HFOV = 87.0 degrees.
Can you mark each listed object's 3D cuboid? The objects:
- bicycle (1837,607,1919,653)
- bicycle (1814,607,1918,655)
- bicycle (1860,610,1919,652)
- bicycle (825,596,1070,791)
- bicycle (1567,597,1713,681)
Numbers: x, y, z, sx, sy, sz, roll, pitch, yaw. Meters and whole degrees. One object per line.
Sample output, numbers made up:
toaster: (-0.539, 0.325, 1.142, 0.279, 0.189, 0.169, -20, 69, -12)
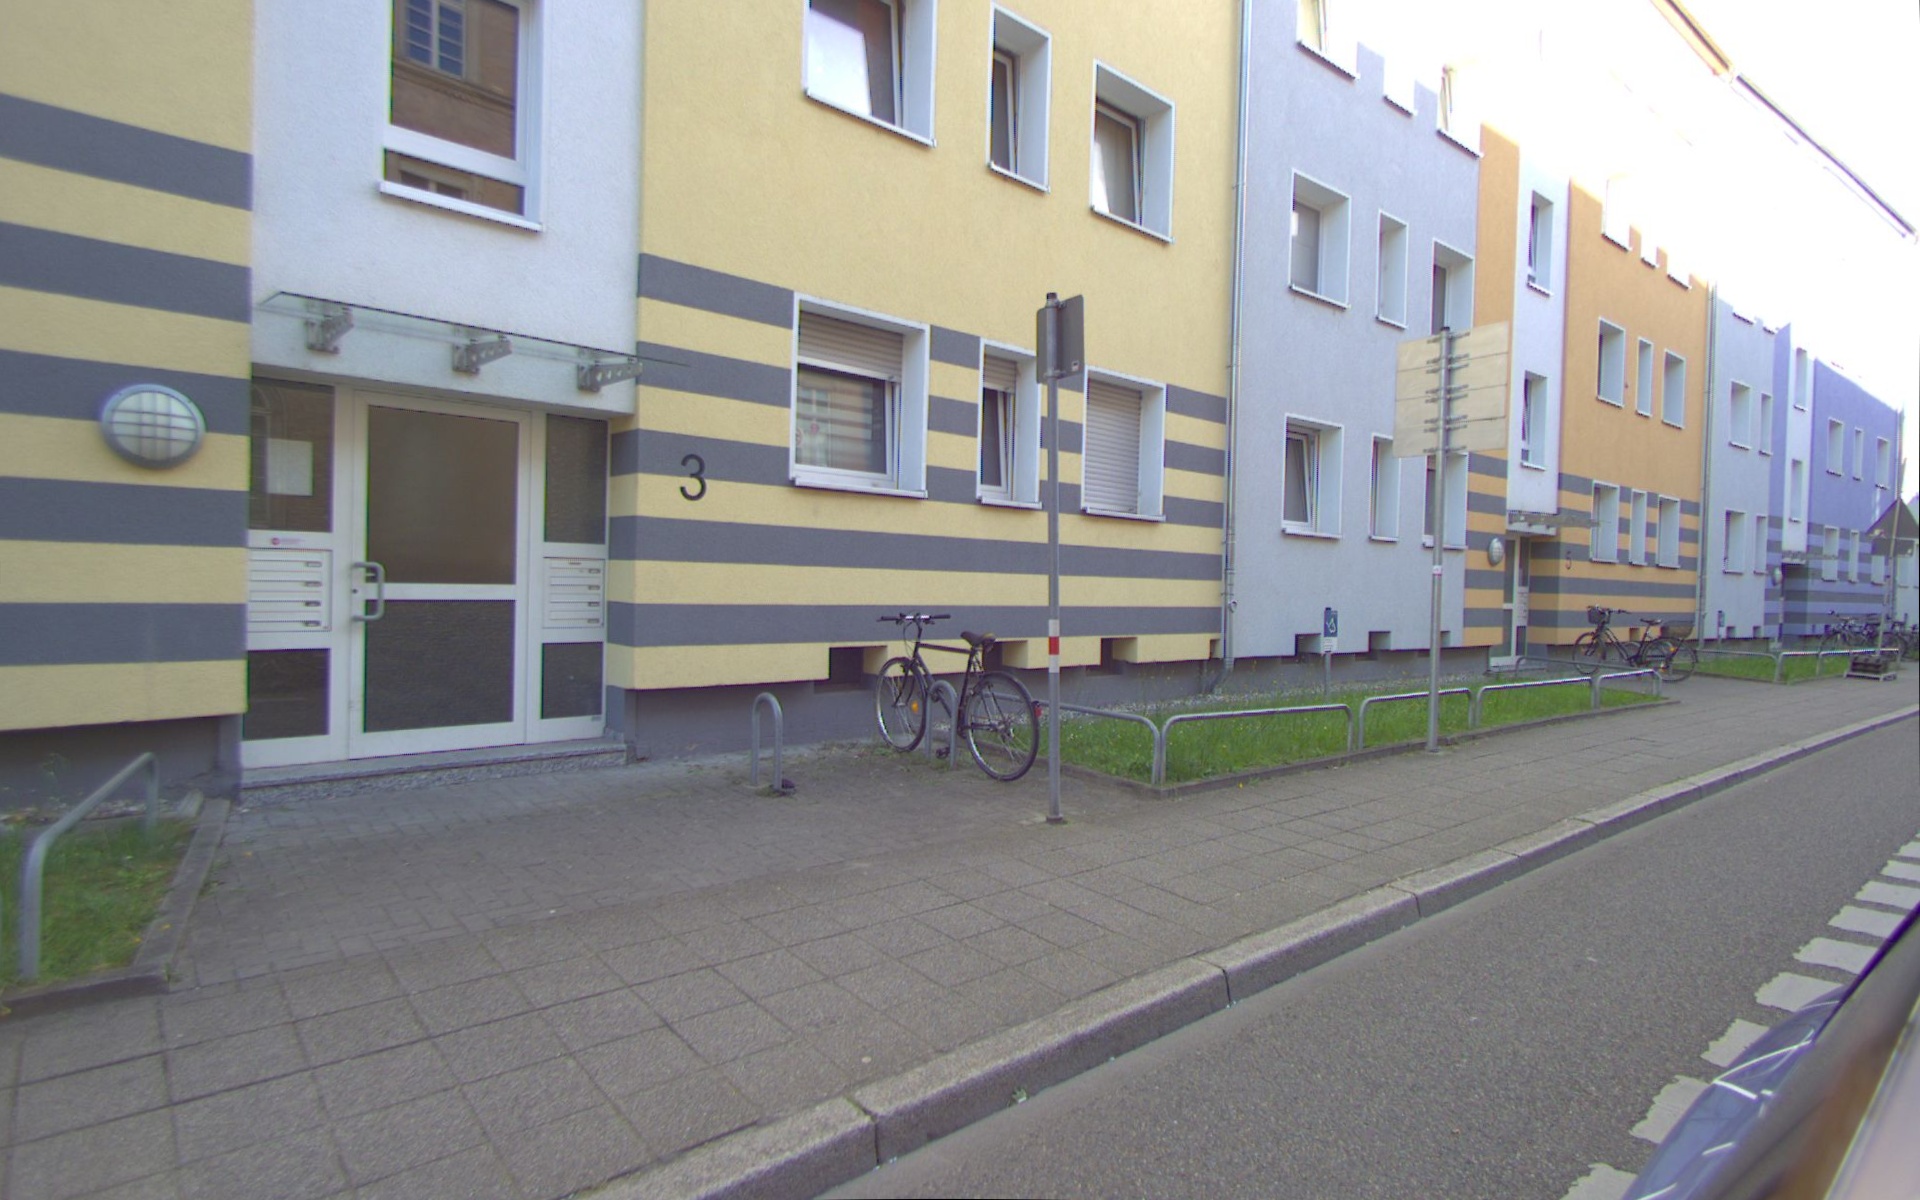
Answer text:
bicycle: (23.336, 0.748, 25.476, 0.572, 1.007, 1.779, 1, 3, -33)
bicycle: (22.173, 0.744, 24.807, 0.572, 1.007, 1.779, 1, 3, -33)
bicycle: (24.039, 0.804, 25.584, 0.572, 0.950, 1.779, 1, 3, -33)
bicycle: (-0.137, 0.561, 6.924, 1.773, 1.061, 0.574, 5, 4, 45)
bicycle: (10.675, 0.576, 15.947, 0.574, 1.138, 1.775, 0, 4, -42)
